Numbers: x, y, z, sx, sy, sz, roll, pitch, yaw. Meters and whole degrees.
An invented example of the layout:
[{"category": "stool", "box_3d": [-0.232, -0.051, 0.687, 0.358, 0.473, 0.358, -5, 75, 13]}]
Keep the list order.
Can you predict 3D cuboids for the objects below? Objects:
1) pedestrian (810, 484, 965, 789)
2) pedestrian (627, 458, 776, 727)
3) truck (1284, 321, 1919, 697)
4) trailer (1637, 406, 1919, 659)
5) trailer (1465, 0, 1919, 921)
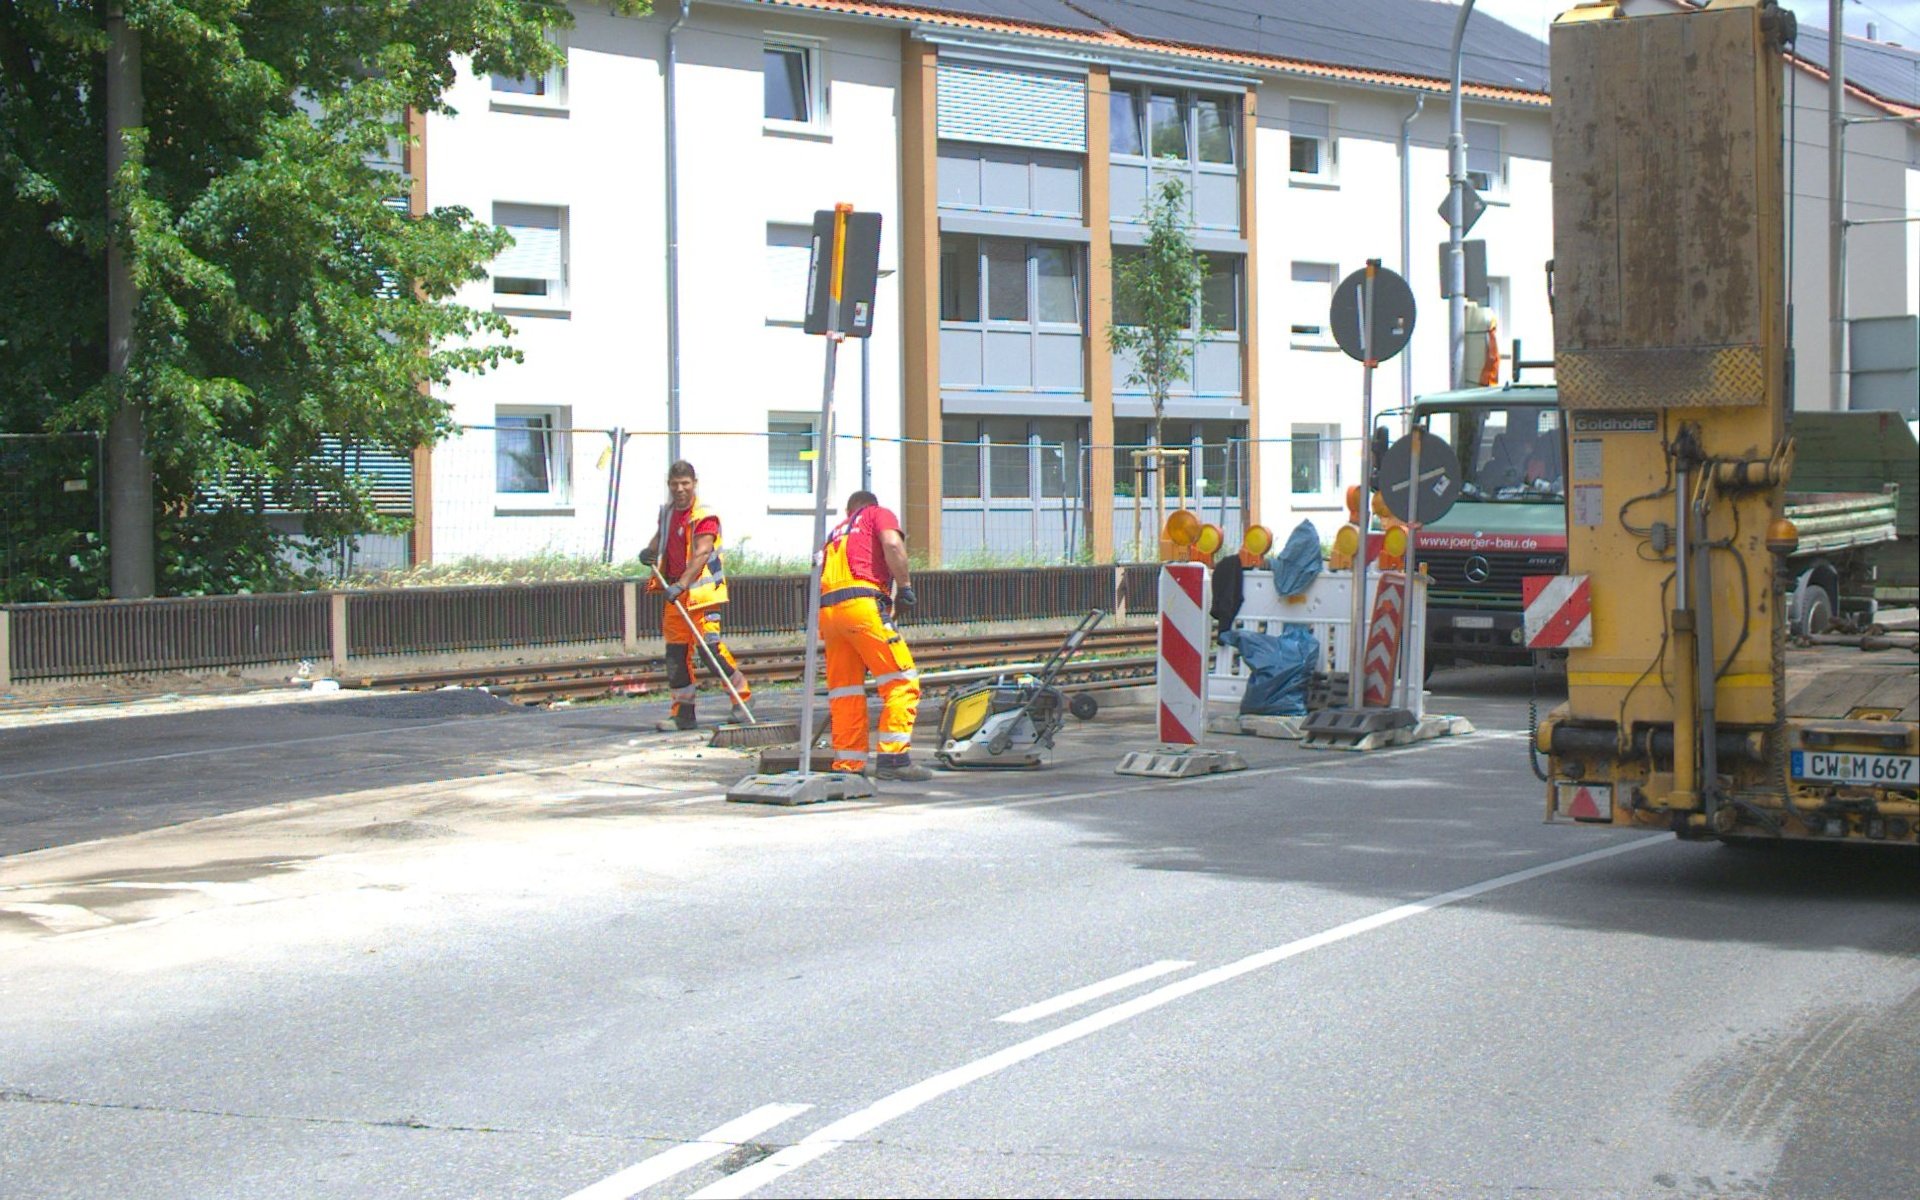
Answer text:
[{"category": "pedestrian", "box_3d": [-0.388, 0.183, 17.892, 0.762, 1.546, 0.901, 0, 0, -4]}, {"category": "pedestrian", "box_3d": [-1.626, -0.046, 21.747, 0.705, 1.662, 0.827, 0, -1, 14]}, {"category": "truck", "box_3d": [5.461, -0.785, 28.252, 2.668, 2.715, 6.382, 2, 3, 36]}, {"category": "trailer", "box_3d": [9.156, -0.718, 33.360, 2.668, 2.206, 6.235, 2, 3, 36]}, {"category": "trailer", "box_3d": [5.978, -0.706, 17.589, 2.827, 3.512, 11.034, 2, 2, 30]}]
